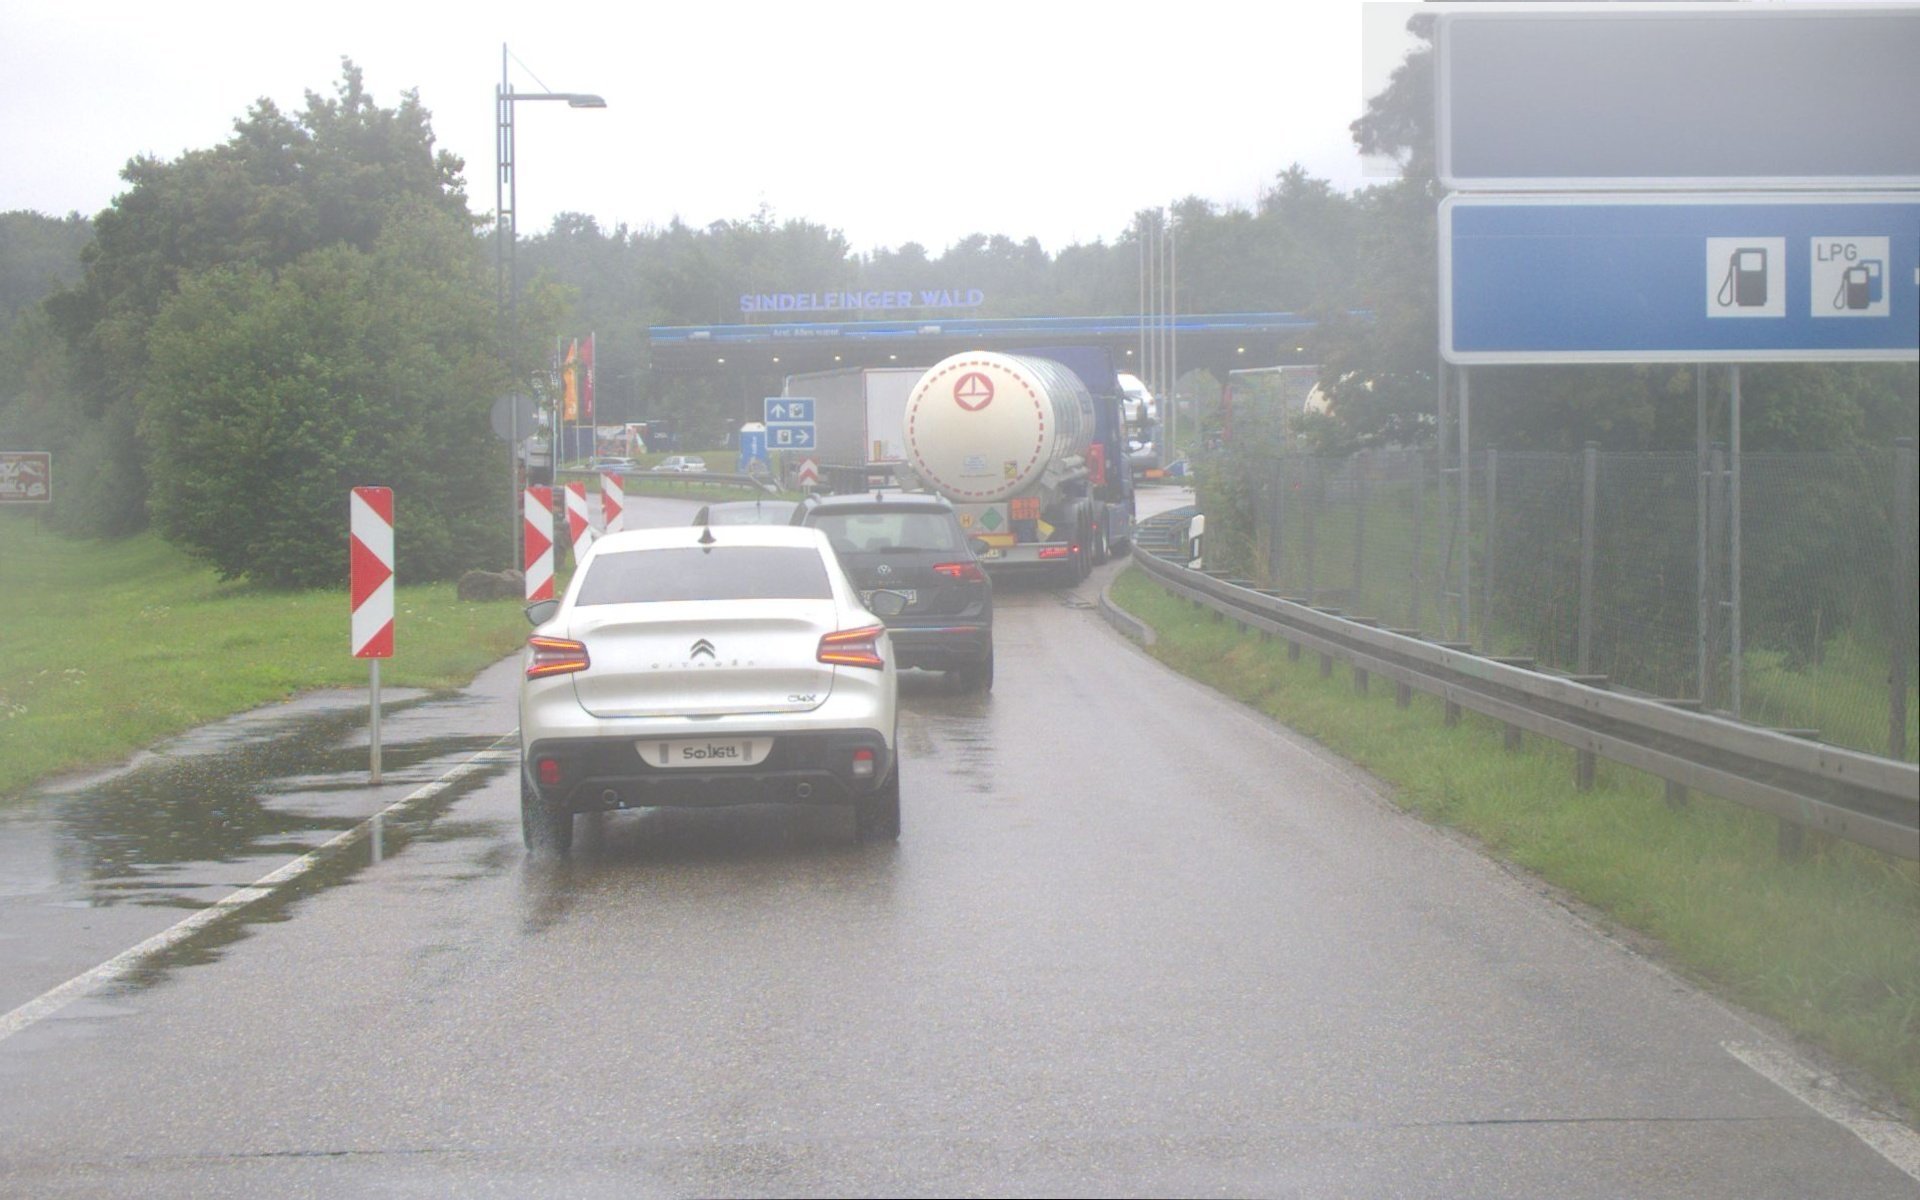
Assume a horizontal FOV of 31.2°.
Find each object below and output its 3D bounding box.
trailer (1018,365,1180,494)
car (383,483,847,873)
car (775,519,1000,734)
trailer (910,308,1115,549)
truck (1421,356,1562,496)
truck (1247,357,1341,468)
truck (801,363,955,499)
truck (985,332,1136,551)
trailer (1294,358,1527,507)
[{"bbox_3d":[4.609,-5.868,117.194,3.215,4.174,11.534,-1,3,-10],"label":"trailer"},{"bbox_3d":[-1.593,0.291,17.077,1.993,1.673,4.001,-1,1,-2],"label":"car"},{"bbox_3d":[-0.605,0.176,29.176,1.742,1.661,4.000,1,1,-1],"label":"car"},{"bbox_3d":[0.938,-2.568,51.427,1.981,3.213,10.320,0,3,7],"label":"trailer"},{"bbox_3d":[13.803,-4.513,89.083,2.149,3.500,4.640,0,3,28],"label":"truck"},{"bbox_3d":[11.853,-6.673,122.079,2.425,3.792,4.002,-2,4,-7],"label":"truck"},{"bbox_3d":[-2.640,-5.174,104.876,2.370,3.860,12.460,-2,3,-12],"label":"truck"},{"bbox_3d":[1.752,-2.678,58.044,2.053,3.518,4.745,0,3,7],"label":"truck"},{"bbox_3d":[11.160,-4.152,84.115,2.134,3.428,10.239,0,3,28],"label":"trailer"}]
